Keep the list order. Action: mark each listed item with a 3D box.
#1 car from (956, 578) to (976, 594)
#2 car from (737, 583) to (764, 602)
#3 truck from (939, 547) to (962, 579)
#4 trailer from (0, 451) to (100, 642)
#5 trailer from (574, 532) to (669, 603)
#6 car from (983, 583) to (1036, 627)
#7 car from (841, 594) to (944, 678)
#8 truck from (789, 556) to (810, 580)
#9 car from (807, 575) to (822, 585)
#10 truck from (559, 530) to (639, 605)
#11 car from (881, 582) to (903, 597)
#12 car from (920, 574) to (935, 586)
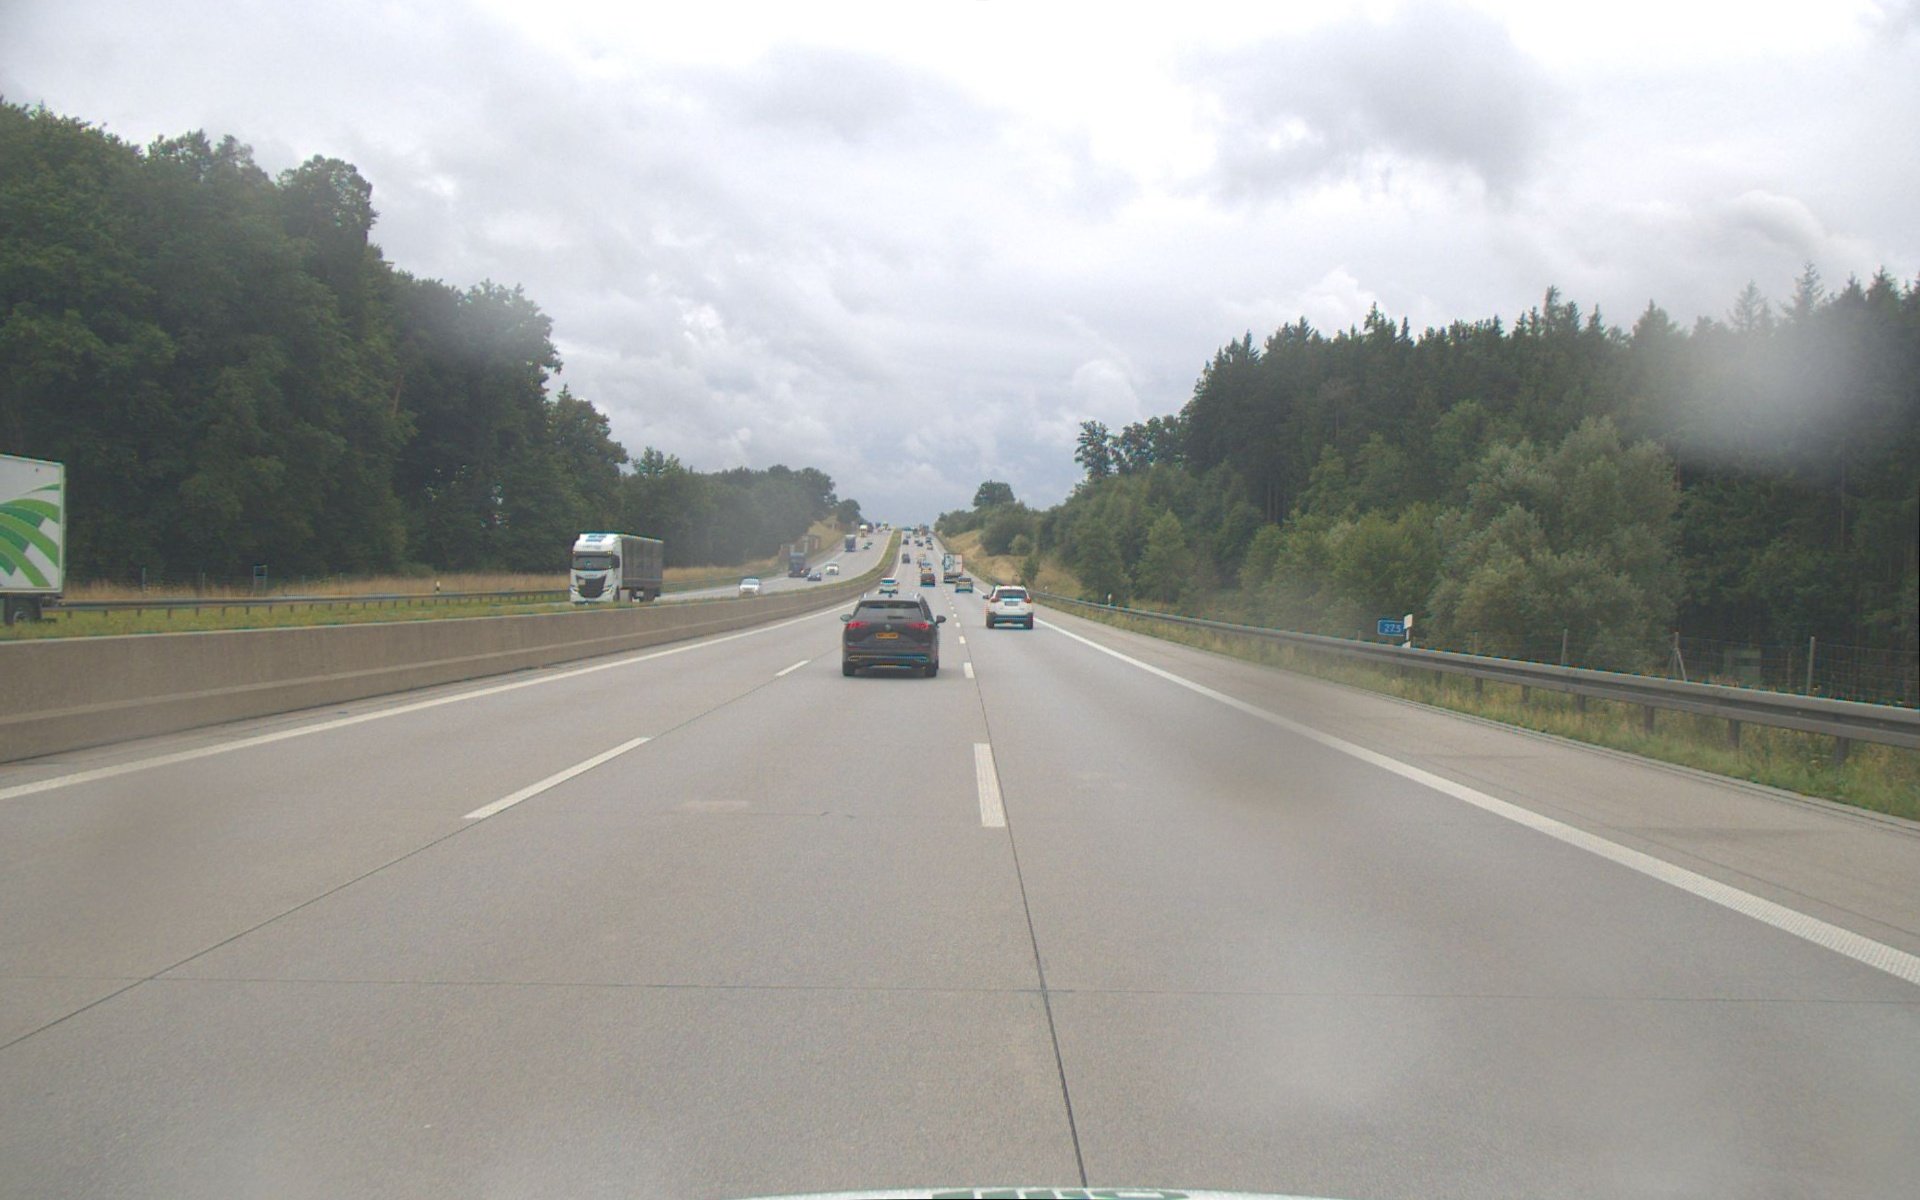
[{"bbox_3d":[0.602,-1.448,172.828,1.953,1.556,4.000,3,1,0],"label":"car"},{"bbox_3d":[-17.410,-0.663,137.443,1.747,1.494,4.371,0,1,-1],"label":"car"},{"bbox_3d":[-1.354,-5.183,229.311,2.957,4.252,8.353,1,2,-2],"label":"truck"},{"bbox_3d":[-20.756,-1.111,33.310,2.761,3.848,7.716,1,1,0],"label":"trailer"},{"bbox_3d":[-21.046,-1.993,103.892,3.169,4.123,14.129,1,1,-1],"label":"trailer"},{"bbox_3d":[1.940,0.178,65.890,1.789,1.684,3.983,0,0,-3],"label":"car"},{"bbox_3d":[-1.185,0.612,30.709,1.717,1.422,4.483,1,0,0],"label":"car"},{"bbox_3d":[-24.092,-4.798,248.545,2.701,3.578,6.639,1,1,-1],"label":"truck"},{"bbox_3d":[-19.955,-2.759,227.080,1.811,1.400,4.434,1,1,-3],"label":"car"},{"bbox_3d":[-20.961,-1.885,96.432,3.147,4.128,7.164,1,1,-1],"label":"truck"},{"bbox_3d":[-6.391,-0.980,155.114,1.908,1.379,4.259,1,0,0],"label":"car"},{"bbox_3d":[-4.060,-2.494,206.572,1.896,1.399,4.594,1,1,-1],"label":"car"}]
